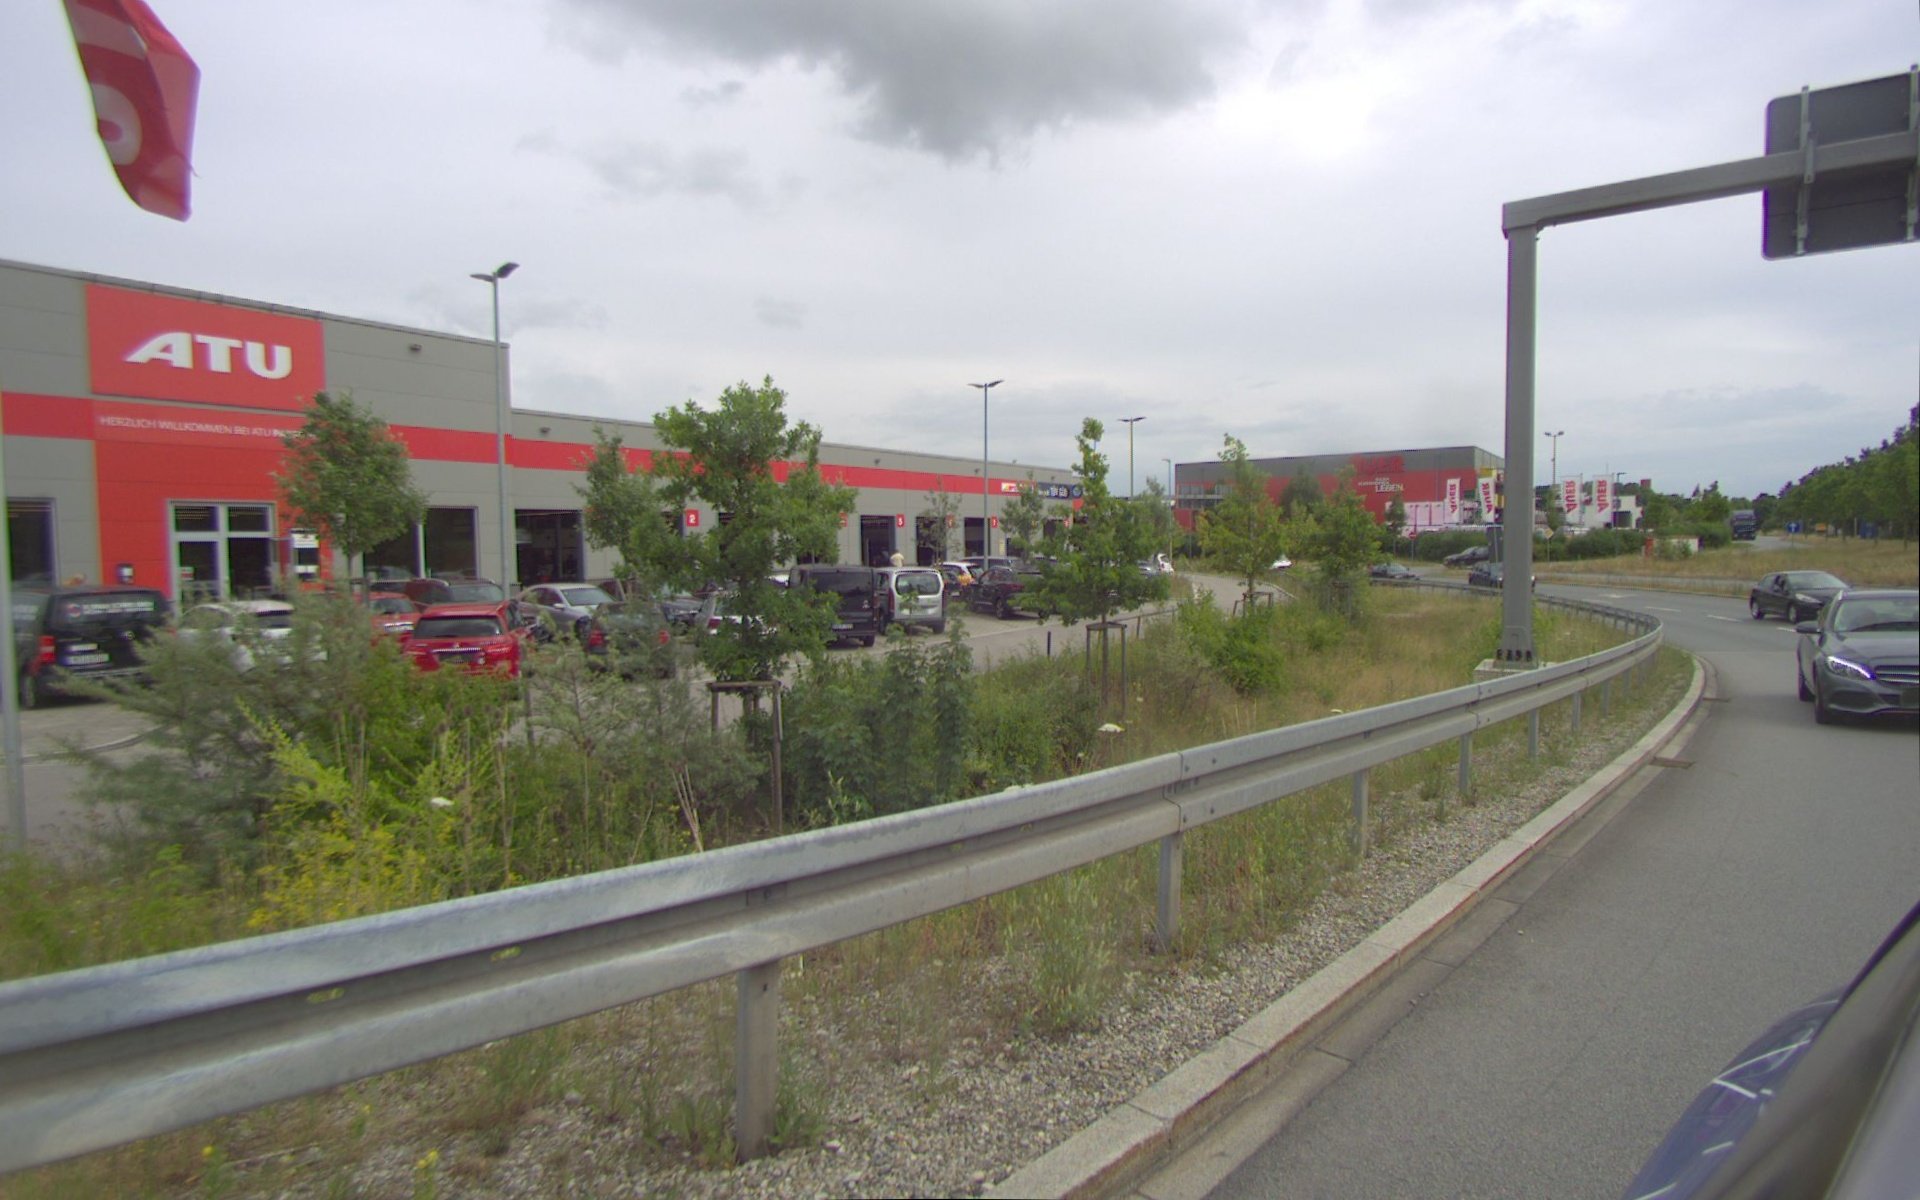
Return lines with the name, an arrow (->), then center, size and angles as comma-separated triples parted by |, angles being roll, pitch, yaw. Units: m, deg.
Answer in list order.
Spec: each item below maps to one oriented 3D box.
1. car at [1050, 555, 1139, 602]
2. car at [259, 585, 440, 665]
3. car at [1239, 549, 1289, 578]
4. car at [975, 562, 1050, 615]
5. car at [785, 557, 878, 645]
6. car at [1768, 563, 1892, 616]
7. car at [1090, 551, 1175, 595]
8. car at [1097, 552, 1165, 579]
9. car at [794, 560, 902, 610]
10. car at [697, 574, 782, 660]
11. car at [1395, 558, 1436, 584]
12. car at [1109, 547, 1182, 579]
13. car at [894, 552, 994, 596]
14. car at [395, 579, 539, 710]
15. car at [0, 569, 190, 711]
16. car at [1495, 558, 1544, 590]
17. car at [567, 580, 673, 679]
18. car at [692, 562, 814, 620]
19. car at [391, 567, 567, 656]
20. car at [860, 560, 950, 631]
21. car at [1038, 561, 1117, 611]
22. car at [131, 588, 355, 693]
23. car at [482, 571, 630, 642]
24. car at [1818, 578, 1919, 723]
car -> 5.142, -0.879, 39.325 | 1.791, 1.641, 4.089 | 0, 4, -18
car -> -13.277, 0.532, 21.949 | 4.167, 1.517, 1.574 | -1, 2, 32
car -> 17.595, -2.122, 58.773 | 1.560, 1.563, 3.703 | -3, 2, -3
car -> 1.655, -0.396, 33.284 | 1.616, 1.642, 4.084 | 0, 1, -9
car -> -3.327, -0.064, 25.595 | 1.866, 1.930, 4.088 | -1, 4, -14
car -> 25.668, -0.340, 30.002 | 1.747, 1.334, 3.927 | -2, 2, 25
car -> 7.007, -1.159, 41.542 | 1.700, 1.641, 4.089 | 0, 4, -18
car -> 9.194, -1.854, 54.455 | 3.296, 1.339, 1.465 | 0, 3, 31
car -> -4.102, -0.539, 36.906 | 3.669, 1.658, 1.574 | -1, 2, 31
car -> -5.131, 0.307, 23.346 | 1.734, 1.598, 4.088 | -1, 4, -14
car -> 28.554, -1.850, 63.509 | 1.835, 1.429, 3.920 | -1, 3, 17
car -> 10.381, -2.066, 56.744 | 3.669, 1.563, 1.574 | -1, 2, 31
car -> -0.650, -1.032, 40.109 | 3.669, 1.563, 1.574 | -1, 2, 31
car -> -8.523, 0.649, 17.830 | 1.734, 1.597, 4.090 | -3, 7, -19
car -> -15.431, 0.527, 17.221 | 5.038, 1.996, 1.979 | 2, 4, 31
car -> 28.714, -1.370, 51.884 | 1.847, 1.429, 4.506 | -1, 3, 33
car -> -6.660, 0.489, 20.176 | 1.734, 1.598, 4.088 | -1, 3, -15
car -> -6.576, -0.271, 32.135 | 3.669, 1.658, 1.574 | -1, 2, 31
car -> -11.120, 0.262, 23.328 | 4.167, 1.859, 1.574 | -1, 2, 32
car -> -1.647, -0.204, 28.895 | 1.866, 1.731, 4.088 | -1, 4, -13
car -> 4.013, -0.500, 35.168 | 1.701, 1.642, 4.084 | 0, 1, -9
car -> -14.092, 0.690, 19.832 | 4.638, 1.661, 1.895 | 2, 4, 31
car -> -10.337, 0.151, 25.842 | 3.669, 1.658, 1.574 | -1, 2, 31
car -> 10.975, 0.497, 11.533 | 1.757, 1.438, 4.032 | -1, -1, 40
